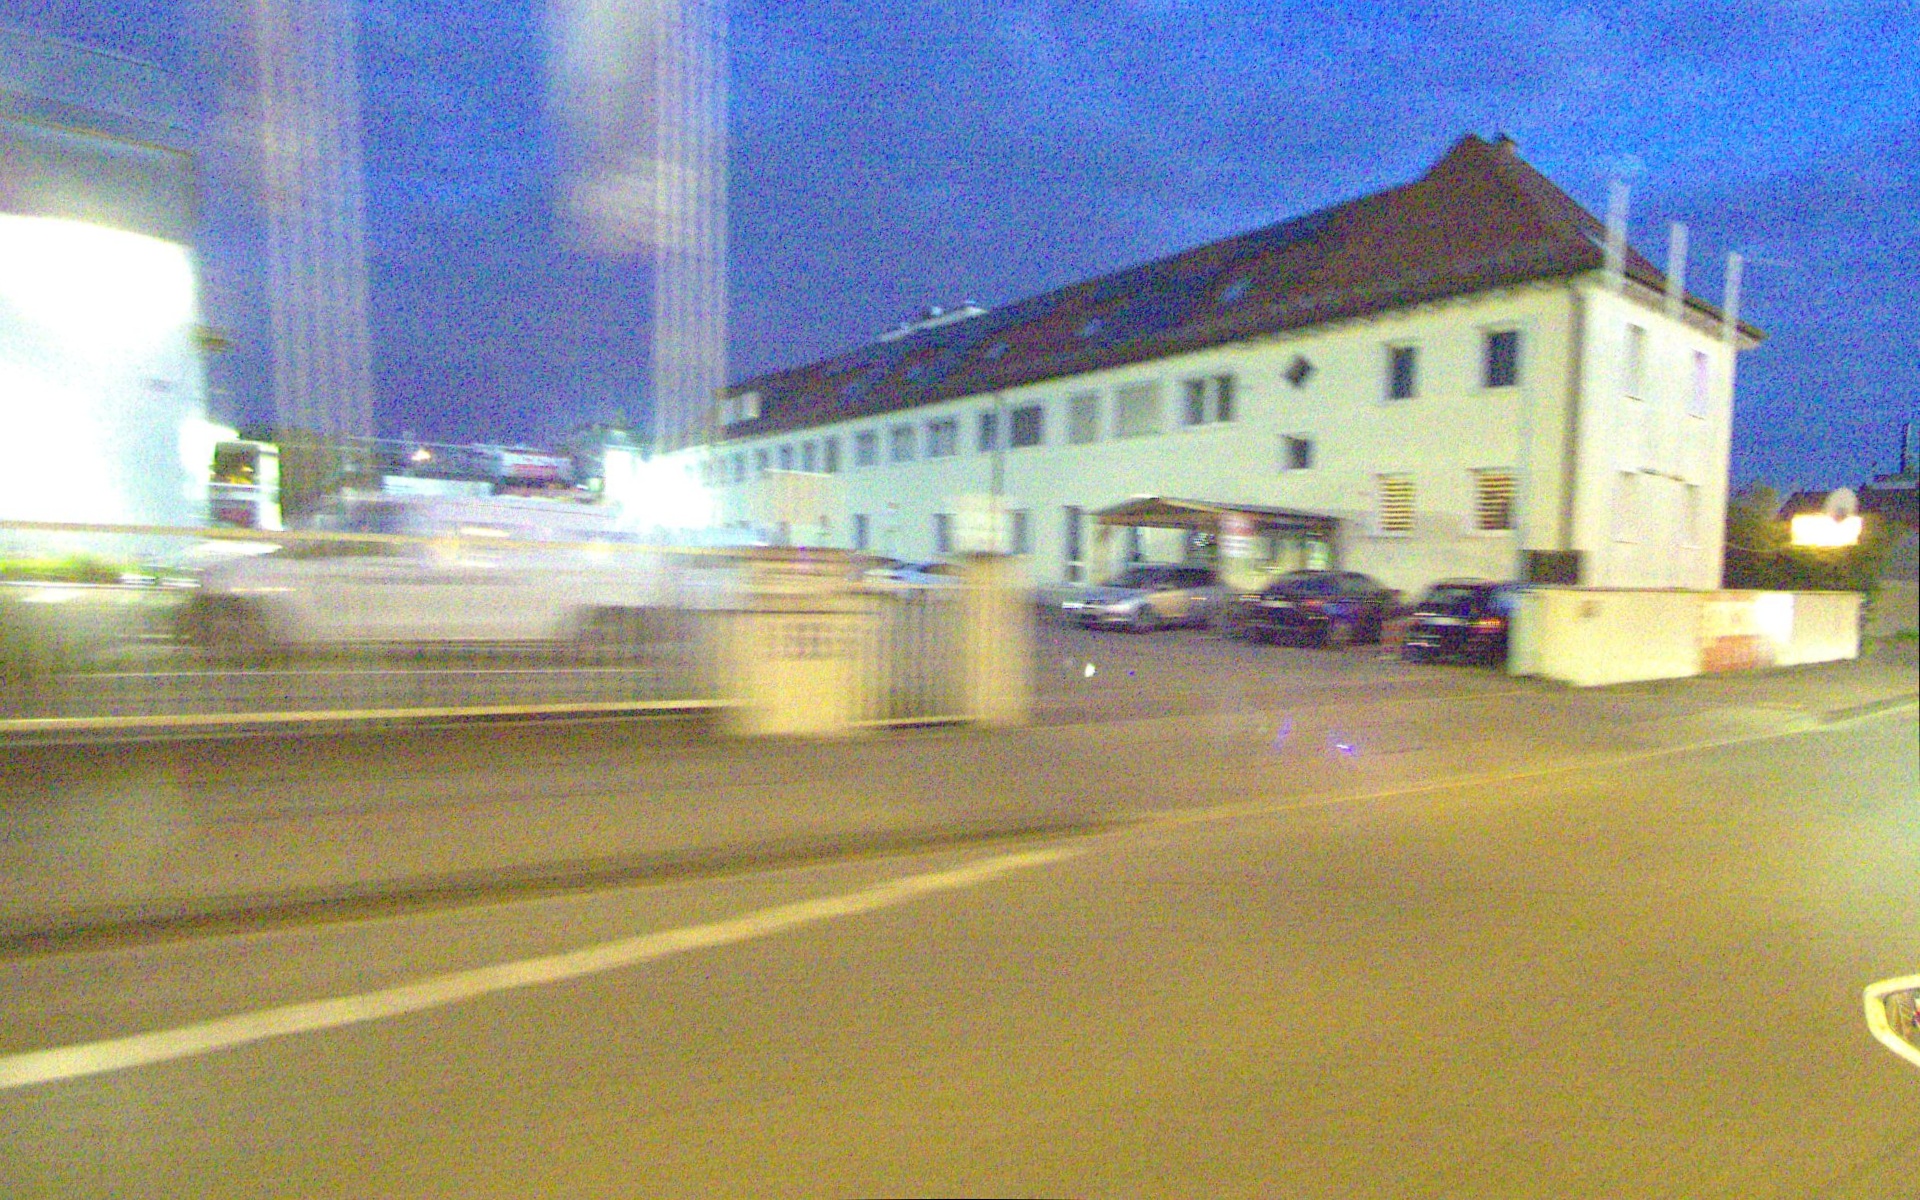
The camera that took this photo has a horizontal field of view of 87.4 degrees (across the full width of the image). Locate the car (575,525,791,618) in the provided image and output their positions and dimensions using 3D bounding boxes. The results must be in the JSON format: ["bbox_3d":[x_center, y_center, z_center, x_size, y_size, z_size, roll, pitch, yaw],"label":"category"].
[{"bbox_3d":[-6.645,-0.642,24.357,4.649,2.041,1.977,1,2,-40],"label":"car"}]

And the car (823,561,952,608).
[{"bbox_3d":[-2.480,-0.529,35.221,1.807,1.514,4.502,3,2,42],"label":"car"}]

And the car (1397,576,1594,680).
[{"bbox_3d":[9.376,0.408,17.402,1.808,1.514,4.500,3,2,44],"label":"car"}]

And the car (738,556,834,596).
[{"bbox_3d":[-7.068,-0.959,40.941,3.532,1.514,1.603,0,2,-42],"label":"car"}]

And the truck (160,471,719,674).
[{"bbox_3d":[-5.638,-0.229,11.579,5.246,1.926,1.987,2,2,-26],"label":"truck"}]

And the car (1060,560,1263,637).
[{"bbox_3d":[4.748,-0.023,23.295,4.910,1.602,1.814,1,2,-37],"label":"car"}]

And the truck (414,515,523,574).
[{"bbox_3d":[-23.625,-2.623,48.317,4.477,2.574,1.981,1,2,-34],"label":"truck"}]

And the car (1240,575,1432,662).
[{"bbox_3d":[7.652,0.318,20.214,4.496,1.514,1.810,0,2,-44],"label":"car"}]

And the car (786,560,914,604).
[{"bbox_3d":[-3.978,-0.640,36.819,4.496,1.514,1.810,0,2,-44],"label":"car"}]

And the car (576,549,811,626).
[{"bbox_3d":[-5.721,-0.243,21.821,4.573,1.484,1.828,1,2,-36],"label":"car"}]

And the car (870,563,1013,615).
[{"bbox_3d":[-0.525,-0.342,31.724,4.496,1.514,1.810,0,2,-44],"label":"car"}]
